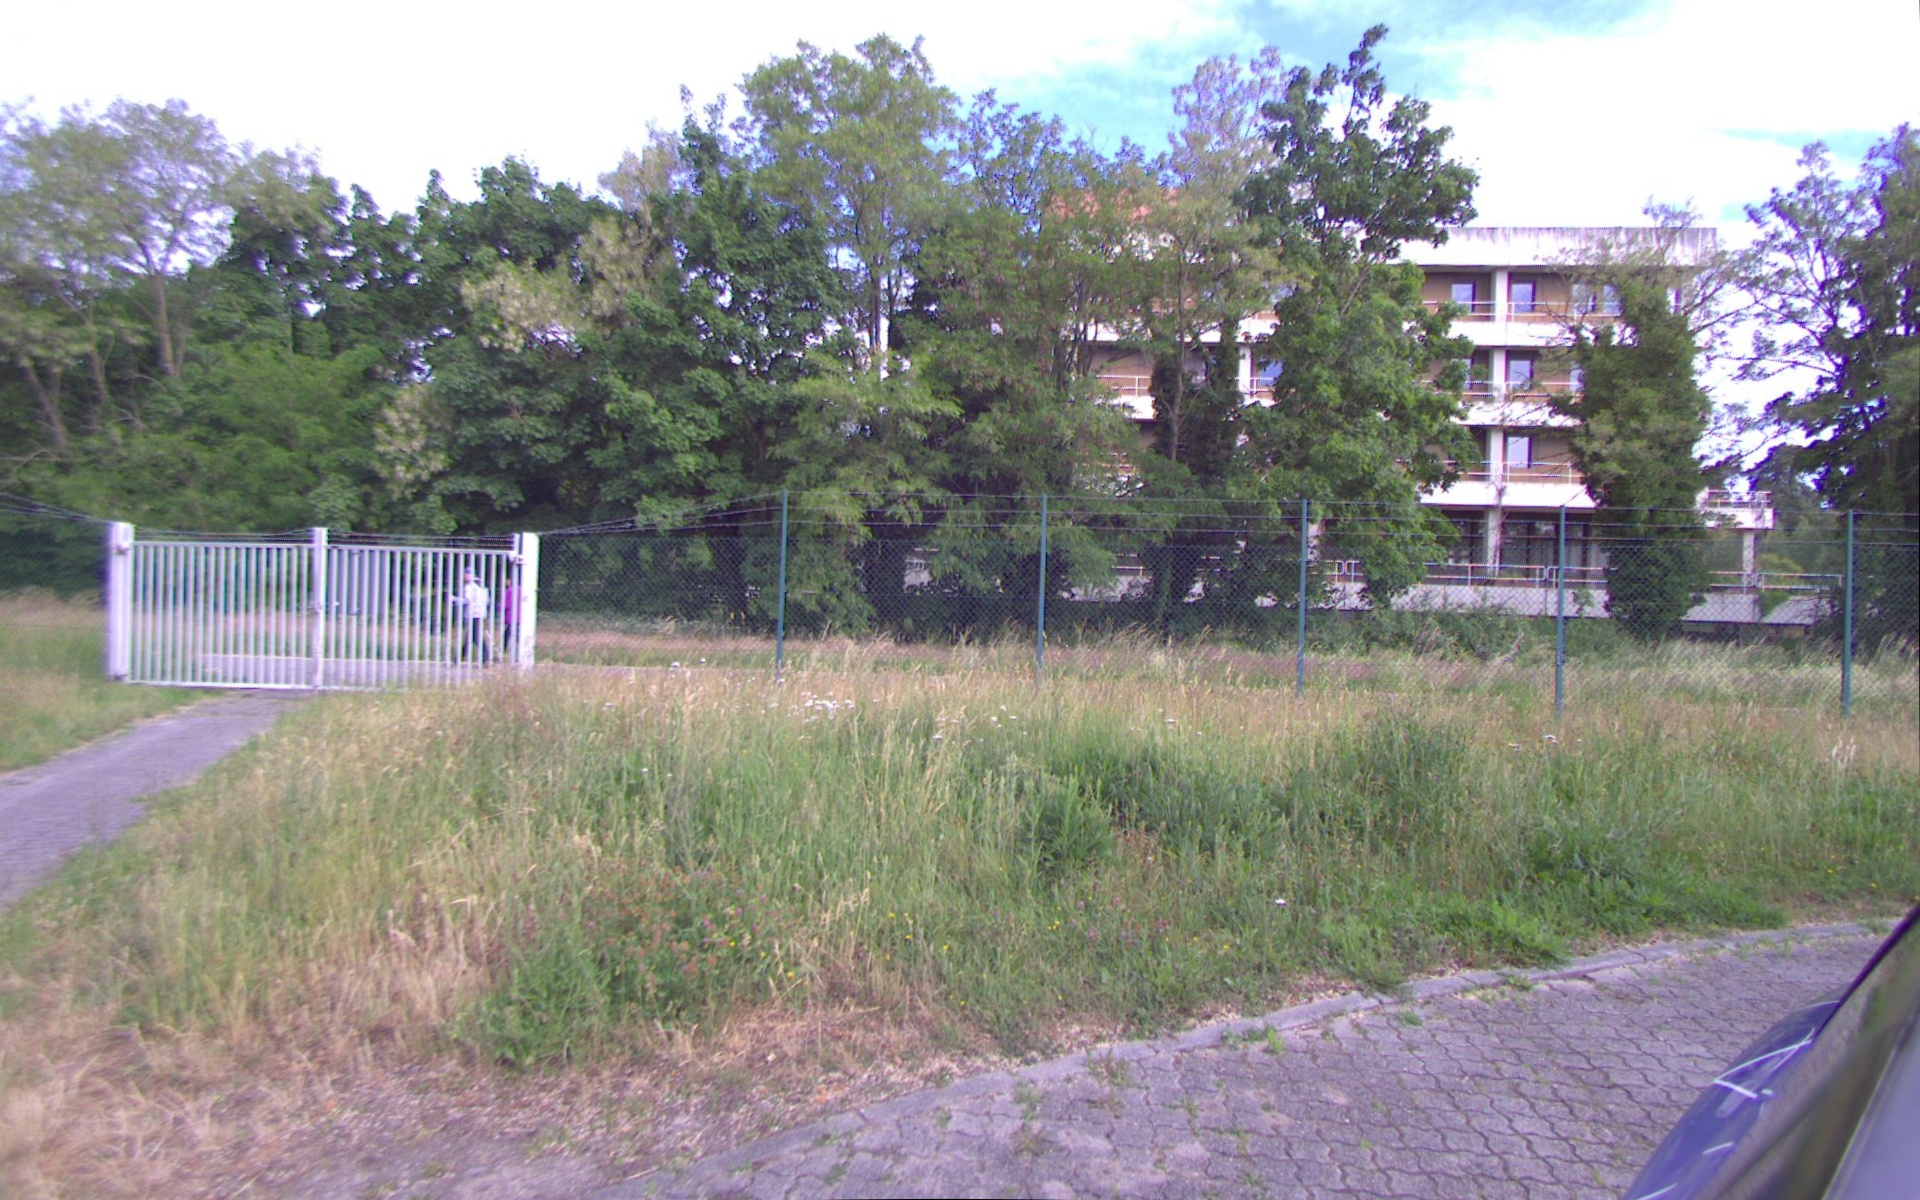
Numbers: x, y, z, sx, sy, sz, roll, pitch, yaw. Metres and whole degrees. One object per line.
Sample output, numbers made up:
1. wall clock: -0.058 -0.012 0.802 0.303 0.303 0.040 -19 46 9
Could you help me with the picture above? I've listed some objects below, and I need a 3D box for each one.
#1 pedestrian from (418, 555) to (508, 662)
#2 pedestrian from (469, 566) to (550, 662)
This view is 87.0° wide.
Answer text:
1. pedestrian: -8.260 0.125 16.847 1.020 1.703 0.842 2 1 10
2. pedestrian: -7.805 0.227 17.556 1.017 1.593 0.736 2 1 7
